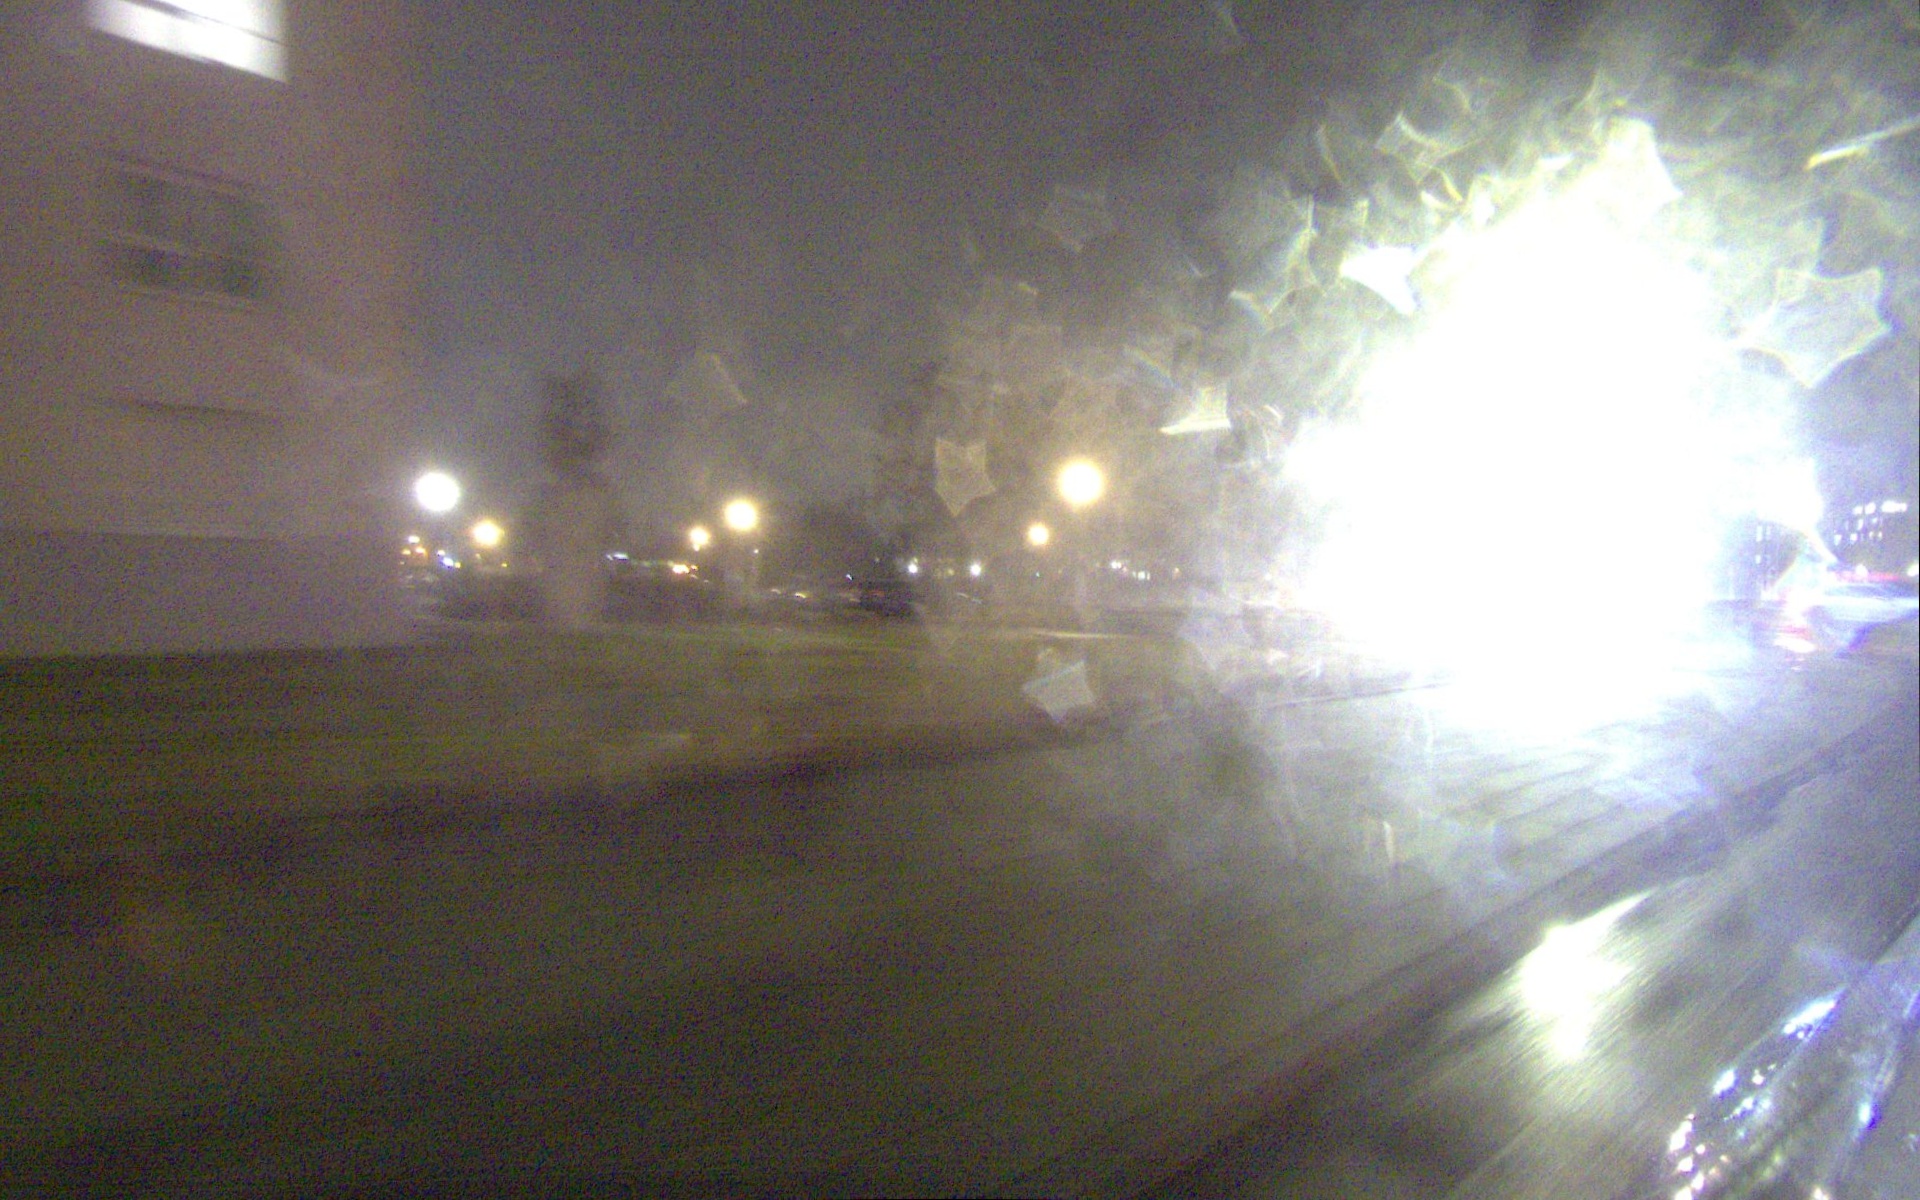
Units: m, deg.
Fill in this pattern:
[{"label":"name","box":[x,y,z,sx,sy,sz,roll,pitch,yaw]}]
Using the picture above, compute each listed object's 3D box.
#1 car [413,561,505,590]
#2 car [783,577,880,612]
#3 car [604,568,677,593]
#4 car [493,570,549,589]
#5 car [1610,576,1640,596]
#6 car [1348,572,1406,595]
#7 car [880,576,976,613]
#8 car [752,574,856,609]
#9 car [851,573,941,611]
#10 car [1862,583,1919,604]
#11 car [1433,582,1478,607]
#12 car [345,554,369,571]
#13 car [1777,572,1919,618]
[{"label":"car","box":[-27.024,-1.325,54.655,4.114,1.517,1.997,-1,3,-42]},{"label":"car","box":[-6.078,-0.284,47.994,4.108,1.539,2.000,-1,3,-37]},{"label":"car","box":[-20.522,-1.235,65.060,4.108,1.517,1.999,0,1,-37]},{"label":"car","box":[-36.295,-1.704,83.656,3.928,1.504,1.999,-1,3,-38]},{"label":"car","box":[62.429,-1.293,94.978,1.990,1.776,3.945,2,3,38]},{"label":"car","box":[28.055,-1.113,68.105,3.923,1.470,1.770,-1,2,-34]},{"label":"car","box":[-1.286,-0.238,41.712,3.953,1.465,1.484,-1,2,-43]},{"label":"car","box":[-7.694,-0.432,50.029,4.725,1.656,1.999,-1,1,-37]},{"label":"car","box":[-2.766,-0.380,44.062,3.815,1.587,1.487,-1,2,-42]},{"label":"car","box":[69.078,-0.471,74.186,4.158,1.484,1.976,2,2,35]},{"label":"car","box":[36.017,-0.418,73.562,1.991,1.693,4.125,2,2,40]},{"label":"car","box":[-74.332,-4.632,124.742,1.965,2.039,3.995,0,2,-40]},{"label":"car","box":[31.487,-0.184,34.629,1.960,1.484,5.106,0,2,-29]}]
